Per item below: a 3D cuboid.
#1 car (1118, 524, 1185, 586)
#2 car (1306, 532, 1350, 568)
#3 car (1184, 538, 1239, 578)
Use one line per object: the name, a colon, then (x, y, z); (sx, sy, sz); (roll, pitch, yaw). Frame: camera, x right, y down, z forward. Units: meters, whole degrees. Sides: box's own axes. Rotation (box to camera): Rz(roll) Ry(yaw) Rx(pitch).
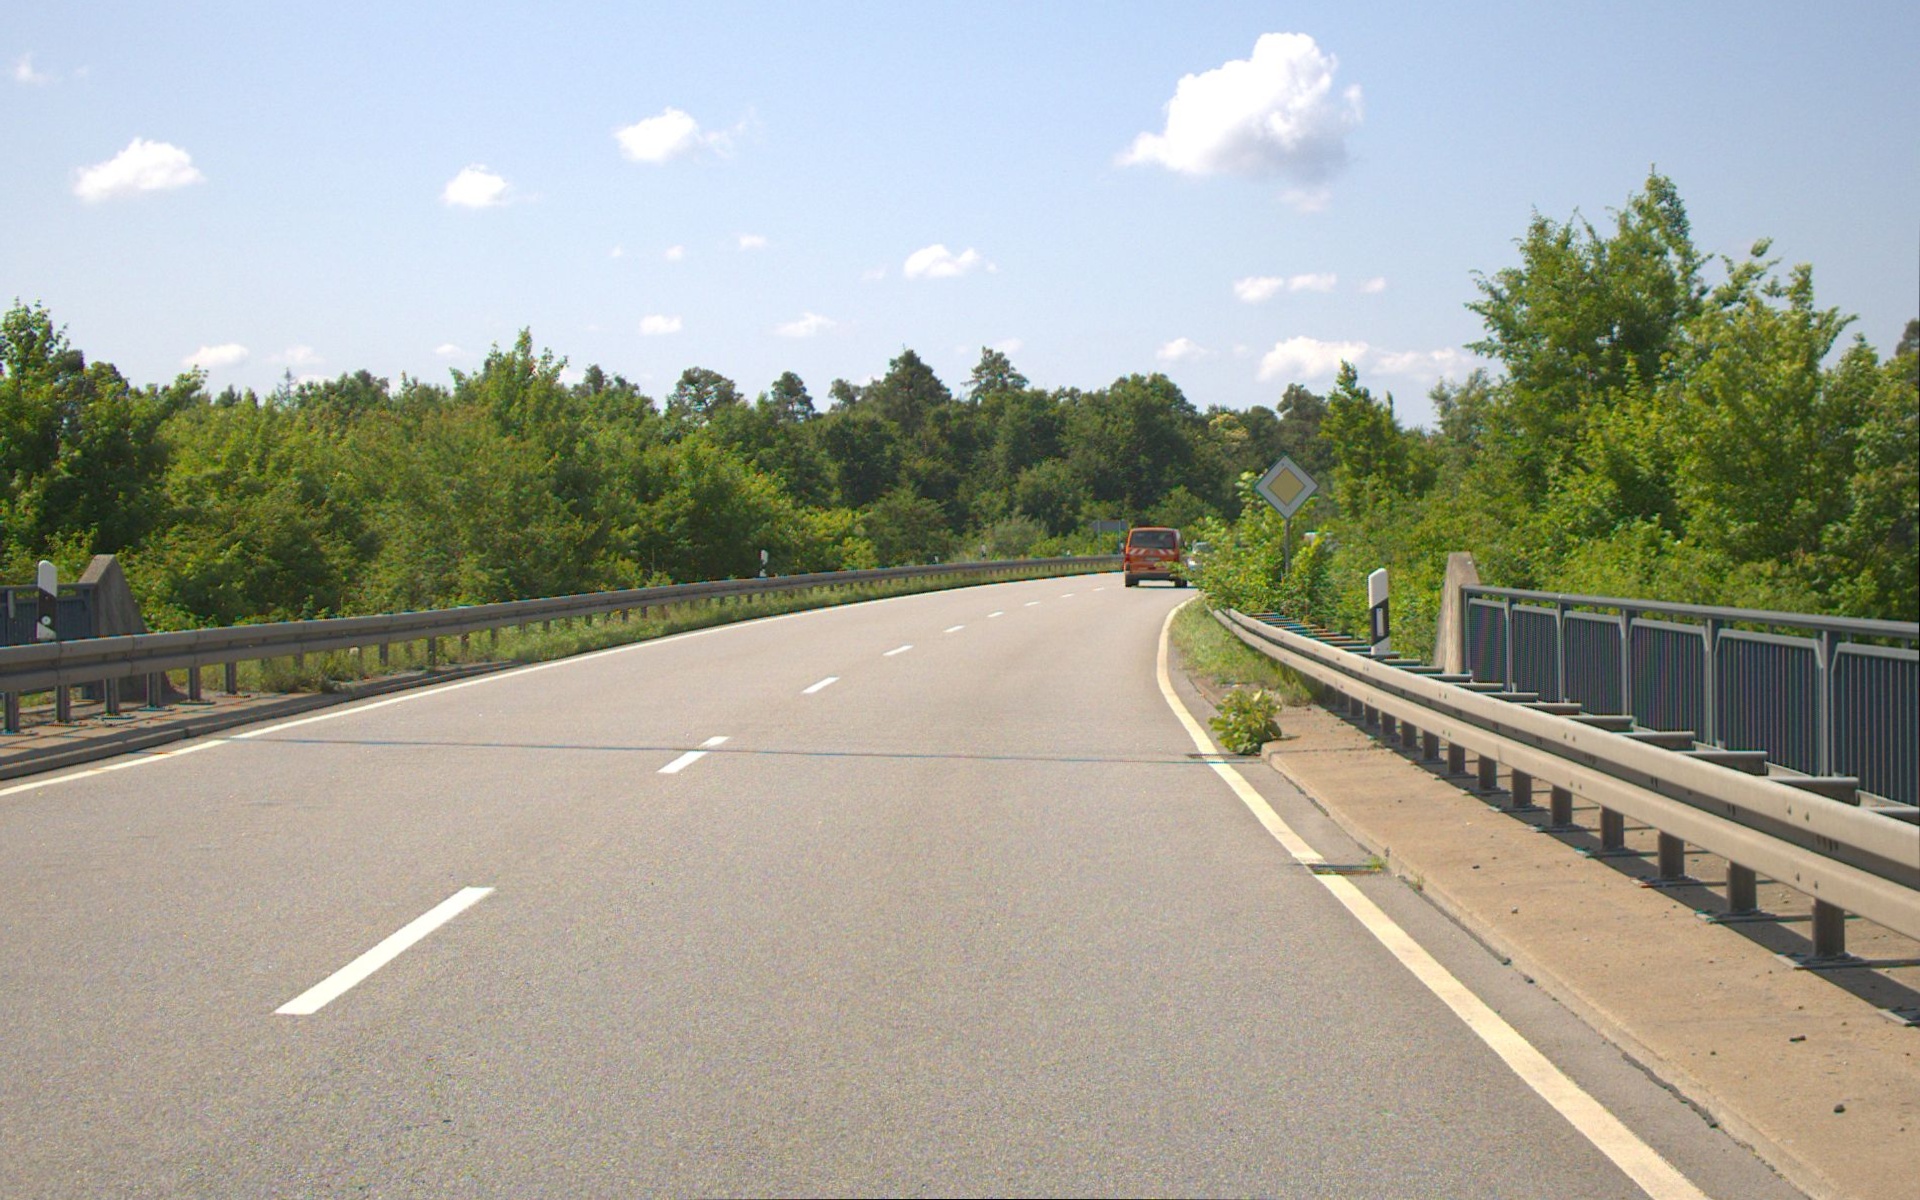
car: (6.327, -1.477, 113.871); (2.077, 1.986, 5.111); (1, 1, 2)
car: (20.829, -2.827, 194.758); (2.185, 1.948, 5.803); (2, 1, 4)
car: (9.936, -1.656, 135.911); (2.007, 1.488, 4.238); (1, 1, 2)
